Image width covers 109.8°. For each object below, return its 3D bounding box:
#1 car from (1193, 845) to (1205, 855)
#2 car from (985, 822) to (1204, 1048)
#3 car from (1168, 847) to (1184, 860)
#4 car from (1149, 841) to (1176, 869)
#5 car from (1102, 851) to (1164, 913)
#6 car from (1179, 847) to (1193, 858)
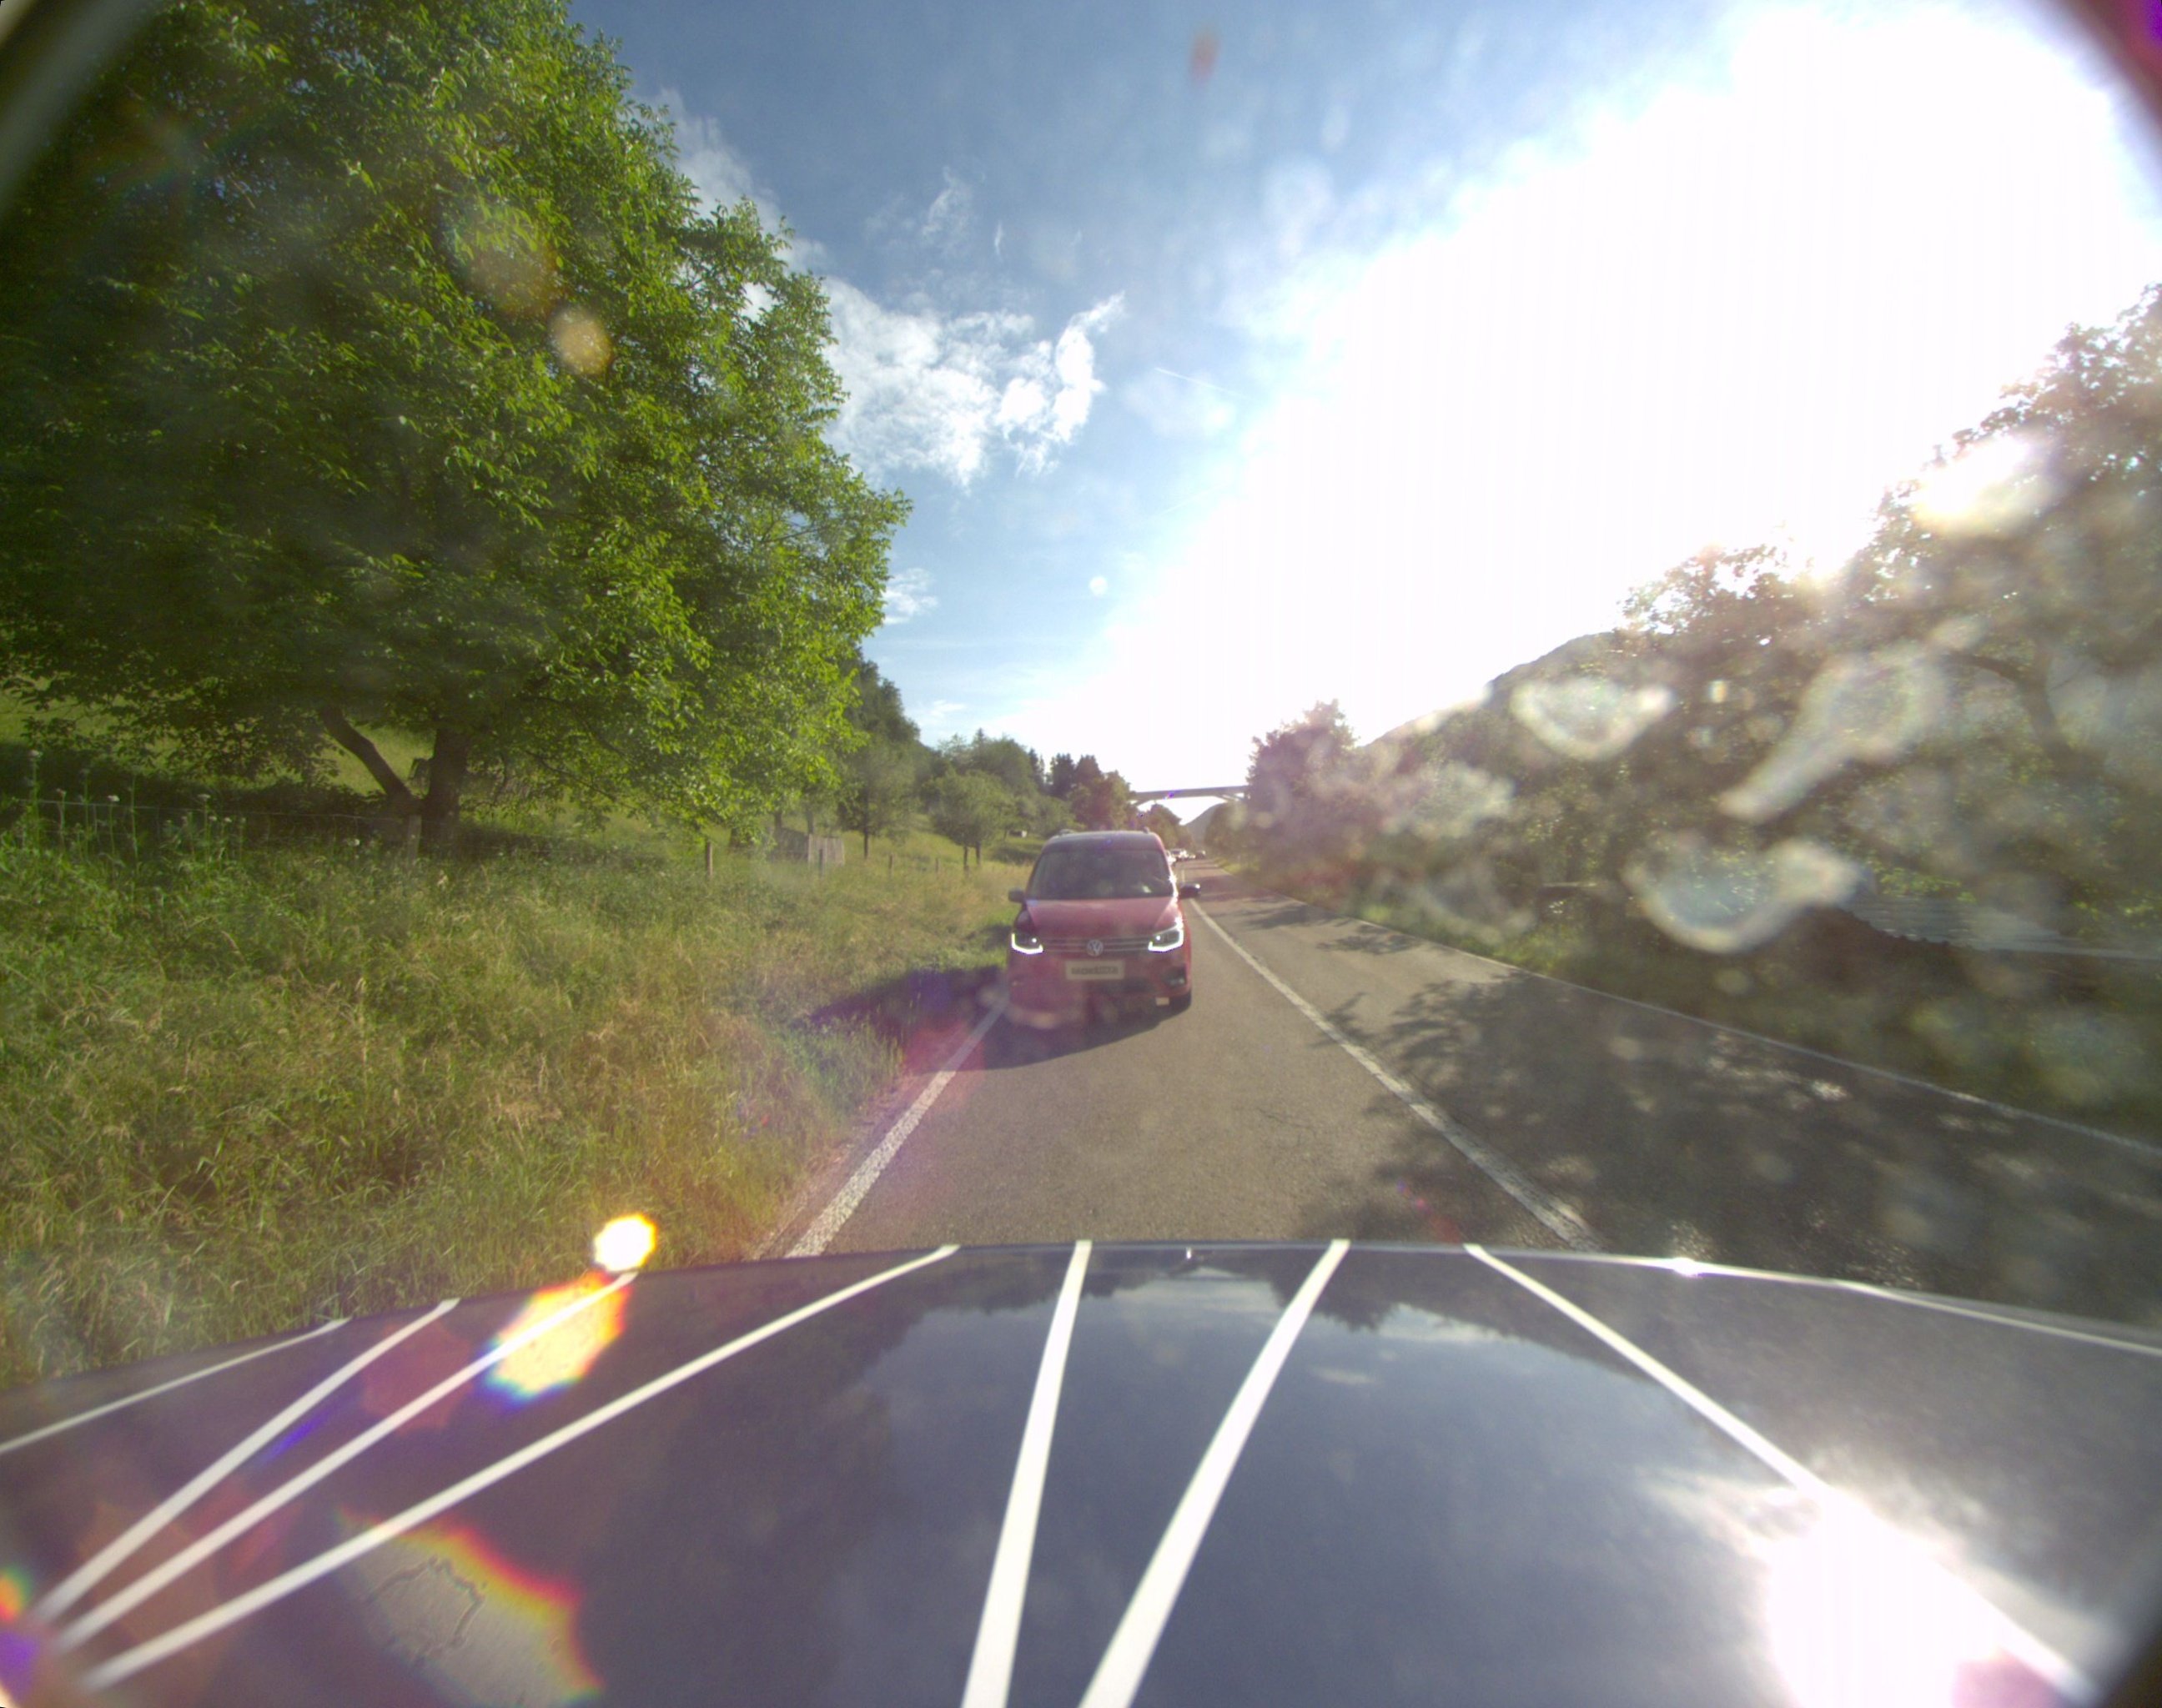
[{"bbox_3d":[19.462,-0.621,125.299,1.817,1.608,3.807,-1,1,7],"label":"car"},{"bbox_3d":[0.211,0.678,8.401,1.772,1.855,3.875,-3,1,3],"label":"car"},{"bbox_3d":[12.339,-0.080,98.674,1.817,1.608,4.003,-1,1,11],"label":"car"},{"bbox_3d":[6.122,0.036,57.093,1.914,2.002,4.002,-1,1,7],"label":"car"},{"bbox_3d":[1.488,0.723,21.351,1.570,1.575,3.527,-1,0,5],"label":"car"},{"bbox_3d":[15.318,-0.190,111.052,1.817,1.608,4.003,-1,1,10],"label":"car"}]
